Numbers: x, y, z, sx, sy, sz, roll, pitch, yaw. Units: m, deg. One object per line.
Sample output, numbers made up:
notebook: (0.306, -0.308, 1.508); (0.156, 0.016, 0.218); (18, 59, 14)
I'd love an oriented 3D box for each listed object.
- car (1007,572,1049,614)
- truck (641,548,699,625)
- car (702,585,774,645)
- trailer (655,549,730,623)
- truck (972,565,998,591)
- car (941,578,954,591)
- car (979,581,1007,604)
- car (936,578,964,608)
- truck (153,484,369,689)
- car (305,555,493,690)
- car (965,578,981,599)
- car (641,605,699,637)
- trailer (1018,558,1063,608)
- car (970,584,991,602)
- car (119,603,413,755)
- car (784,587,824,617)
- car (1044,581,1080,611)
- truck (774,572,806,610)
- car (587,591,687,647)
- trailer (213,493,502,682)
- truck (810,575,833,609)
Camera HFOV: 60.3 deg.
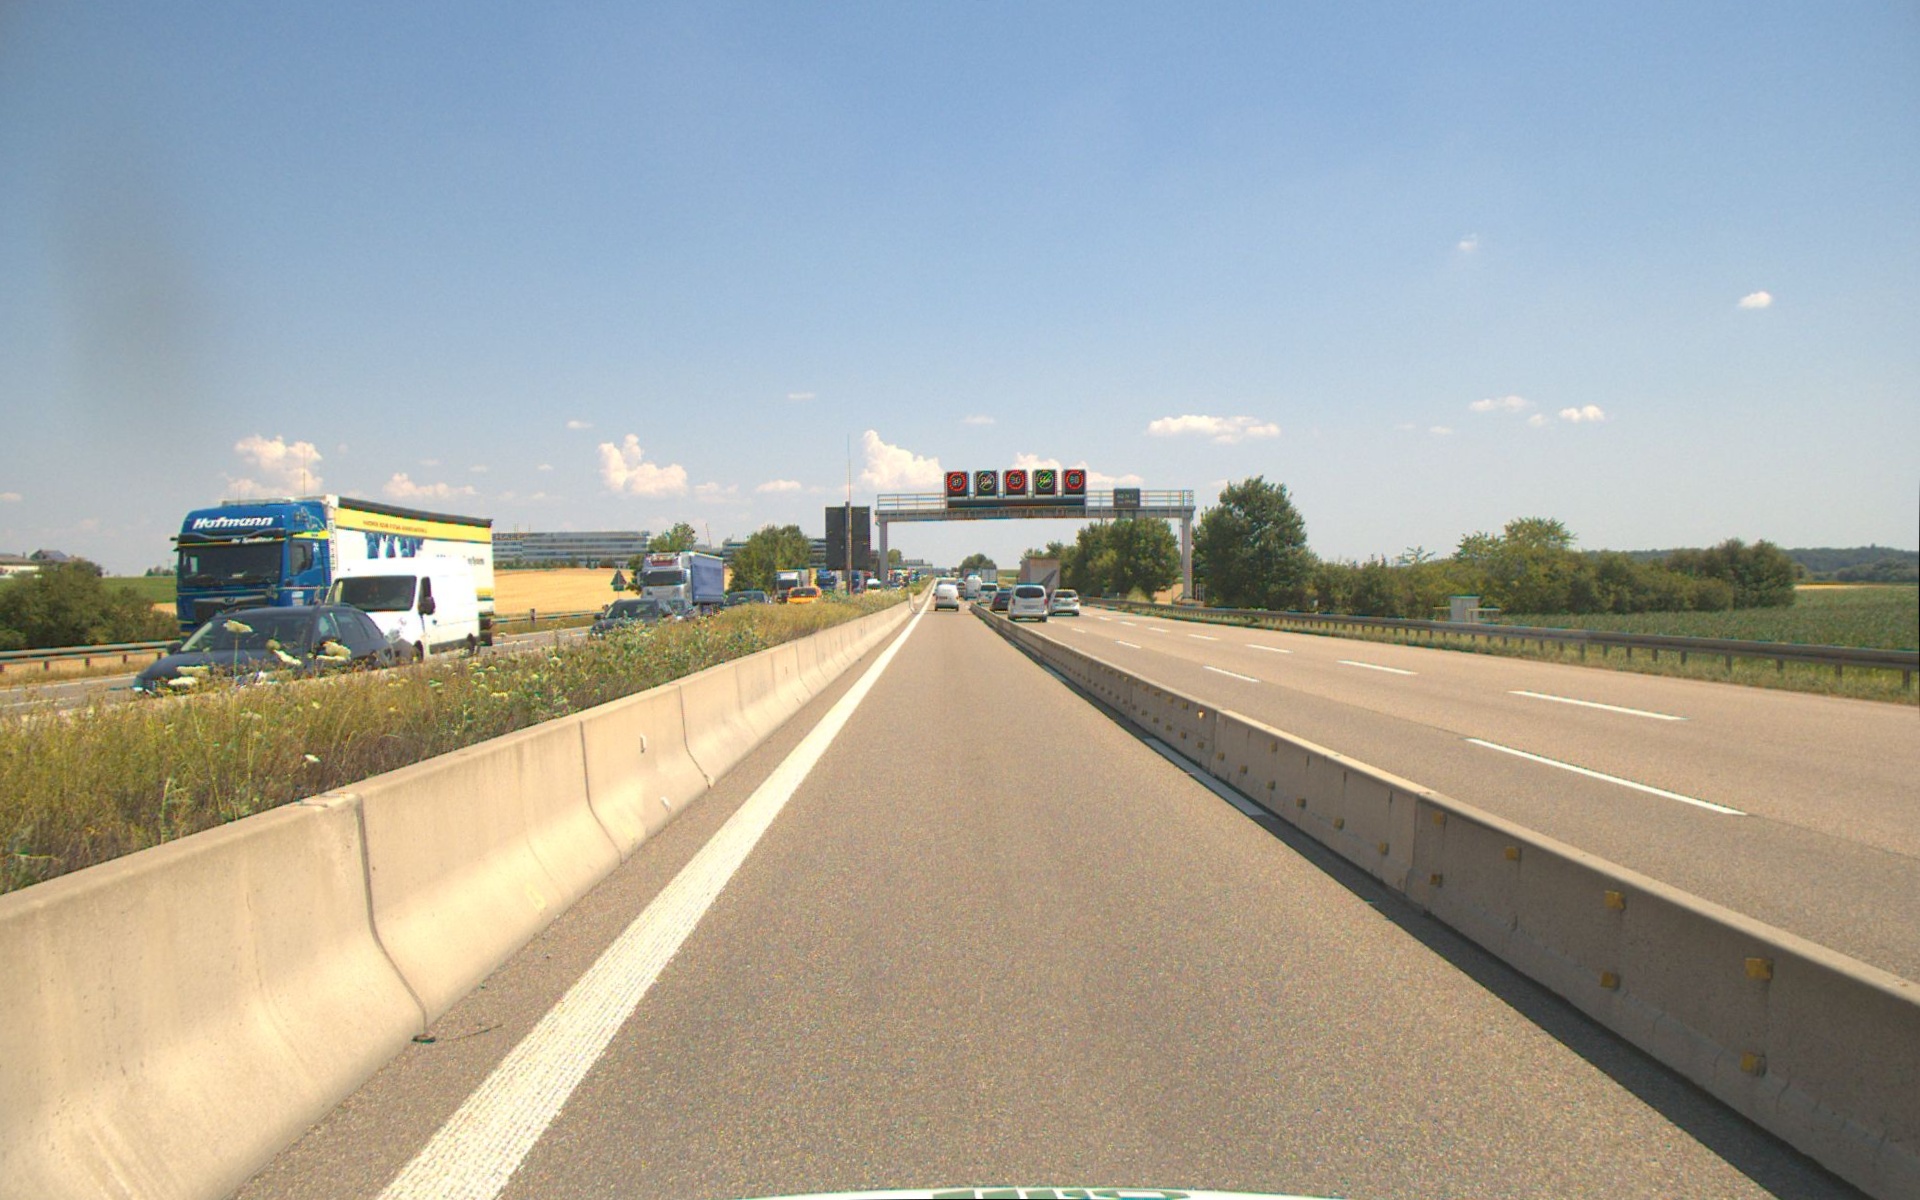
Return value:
car: (3.488, -0.346, 85.890); (1.953, 2.157, 3.999); (0, 0, -1)
truck: (-16.165, -0.744, 92.484); (2.362, 4.158, 4.659); (-1, 0, 0)
car: (-7.965, 0.504, 59.665); (1.953, 2.049, 4.685); (-1, 1, 0)
trailer: (-16.192, -0.853, 101.149); (2.337, 4.158, 14.096); (-1, 0, 0)
truck: (3.902, -3.475, 264.357); (3.738, 3.973, 9.578); (-1, 0, -1)
car: (-1.951, -2.387, 252.768); (1.953, 1.868, 3.999); (0, 0, -1)
car: (2.224, -0.484, 111.720); (1.737, 1.472, 3.999); (0, 0, -1)
car: (-0.737, -0.491, 117.233); (1.953, 2.049, 3.999); (0, 0, -1)
truck: (-15.406, -0.305, 36.836); (2.753, 4.200, 4.840); (-1, 0, -1)
car: (-11.607, 0.412, 34.697); (2.005, 2.545, 5.811); (-1, 0, -1)
car: (1.427, -1.305, 189.328); (1.737, 2.434, 3.999); (0, 0, -1)
car: (-12.102, 0.894, 69.335); (1.712, 1.288, 4.433); (1, -1, -1)
trailer: (6.735, -1.385, 139.097); (3.211, 4.036, 9.110); (0, 0, -1)
car: (1.771, -0.614, 145.788); (1.737, 1.472, 3.999); (0, 0, -1)
car: (-7.885, 0.814, 19.278); (1.565, 1.494, 4.532); (-1, 0, -1)
car: (-8.812, 0.136, 93.526); (1.856, 1.606, 4.935); (1, -1, -1)
car: (6.355, -0.231, 103.788); (1.953, 1.825, 3.999); (0, 0, -1)
truck: (-16.869, -0.923, 164.246); (2.643, 3.650, 4.000); (-2, 0, 0)
car: (-8.382, 0.501, 43.306); (1.743, 1.358, 4.928); (1, -1, -1)
trailer: (-15.548, -0.334, 44.376); (2.753, 4.200, 14.127); (-1, 0, -1)
truck: (-18.251, -1.034, 217.964); (2.540, 4.312, 4.853); (-3, 0, -1)
